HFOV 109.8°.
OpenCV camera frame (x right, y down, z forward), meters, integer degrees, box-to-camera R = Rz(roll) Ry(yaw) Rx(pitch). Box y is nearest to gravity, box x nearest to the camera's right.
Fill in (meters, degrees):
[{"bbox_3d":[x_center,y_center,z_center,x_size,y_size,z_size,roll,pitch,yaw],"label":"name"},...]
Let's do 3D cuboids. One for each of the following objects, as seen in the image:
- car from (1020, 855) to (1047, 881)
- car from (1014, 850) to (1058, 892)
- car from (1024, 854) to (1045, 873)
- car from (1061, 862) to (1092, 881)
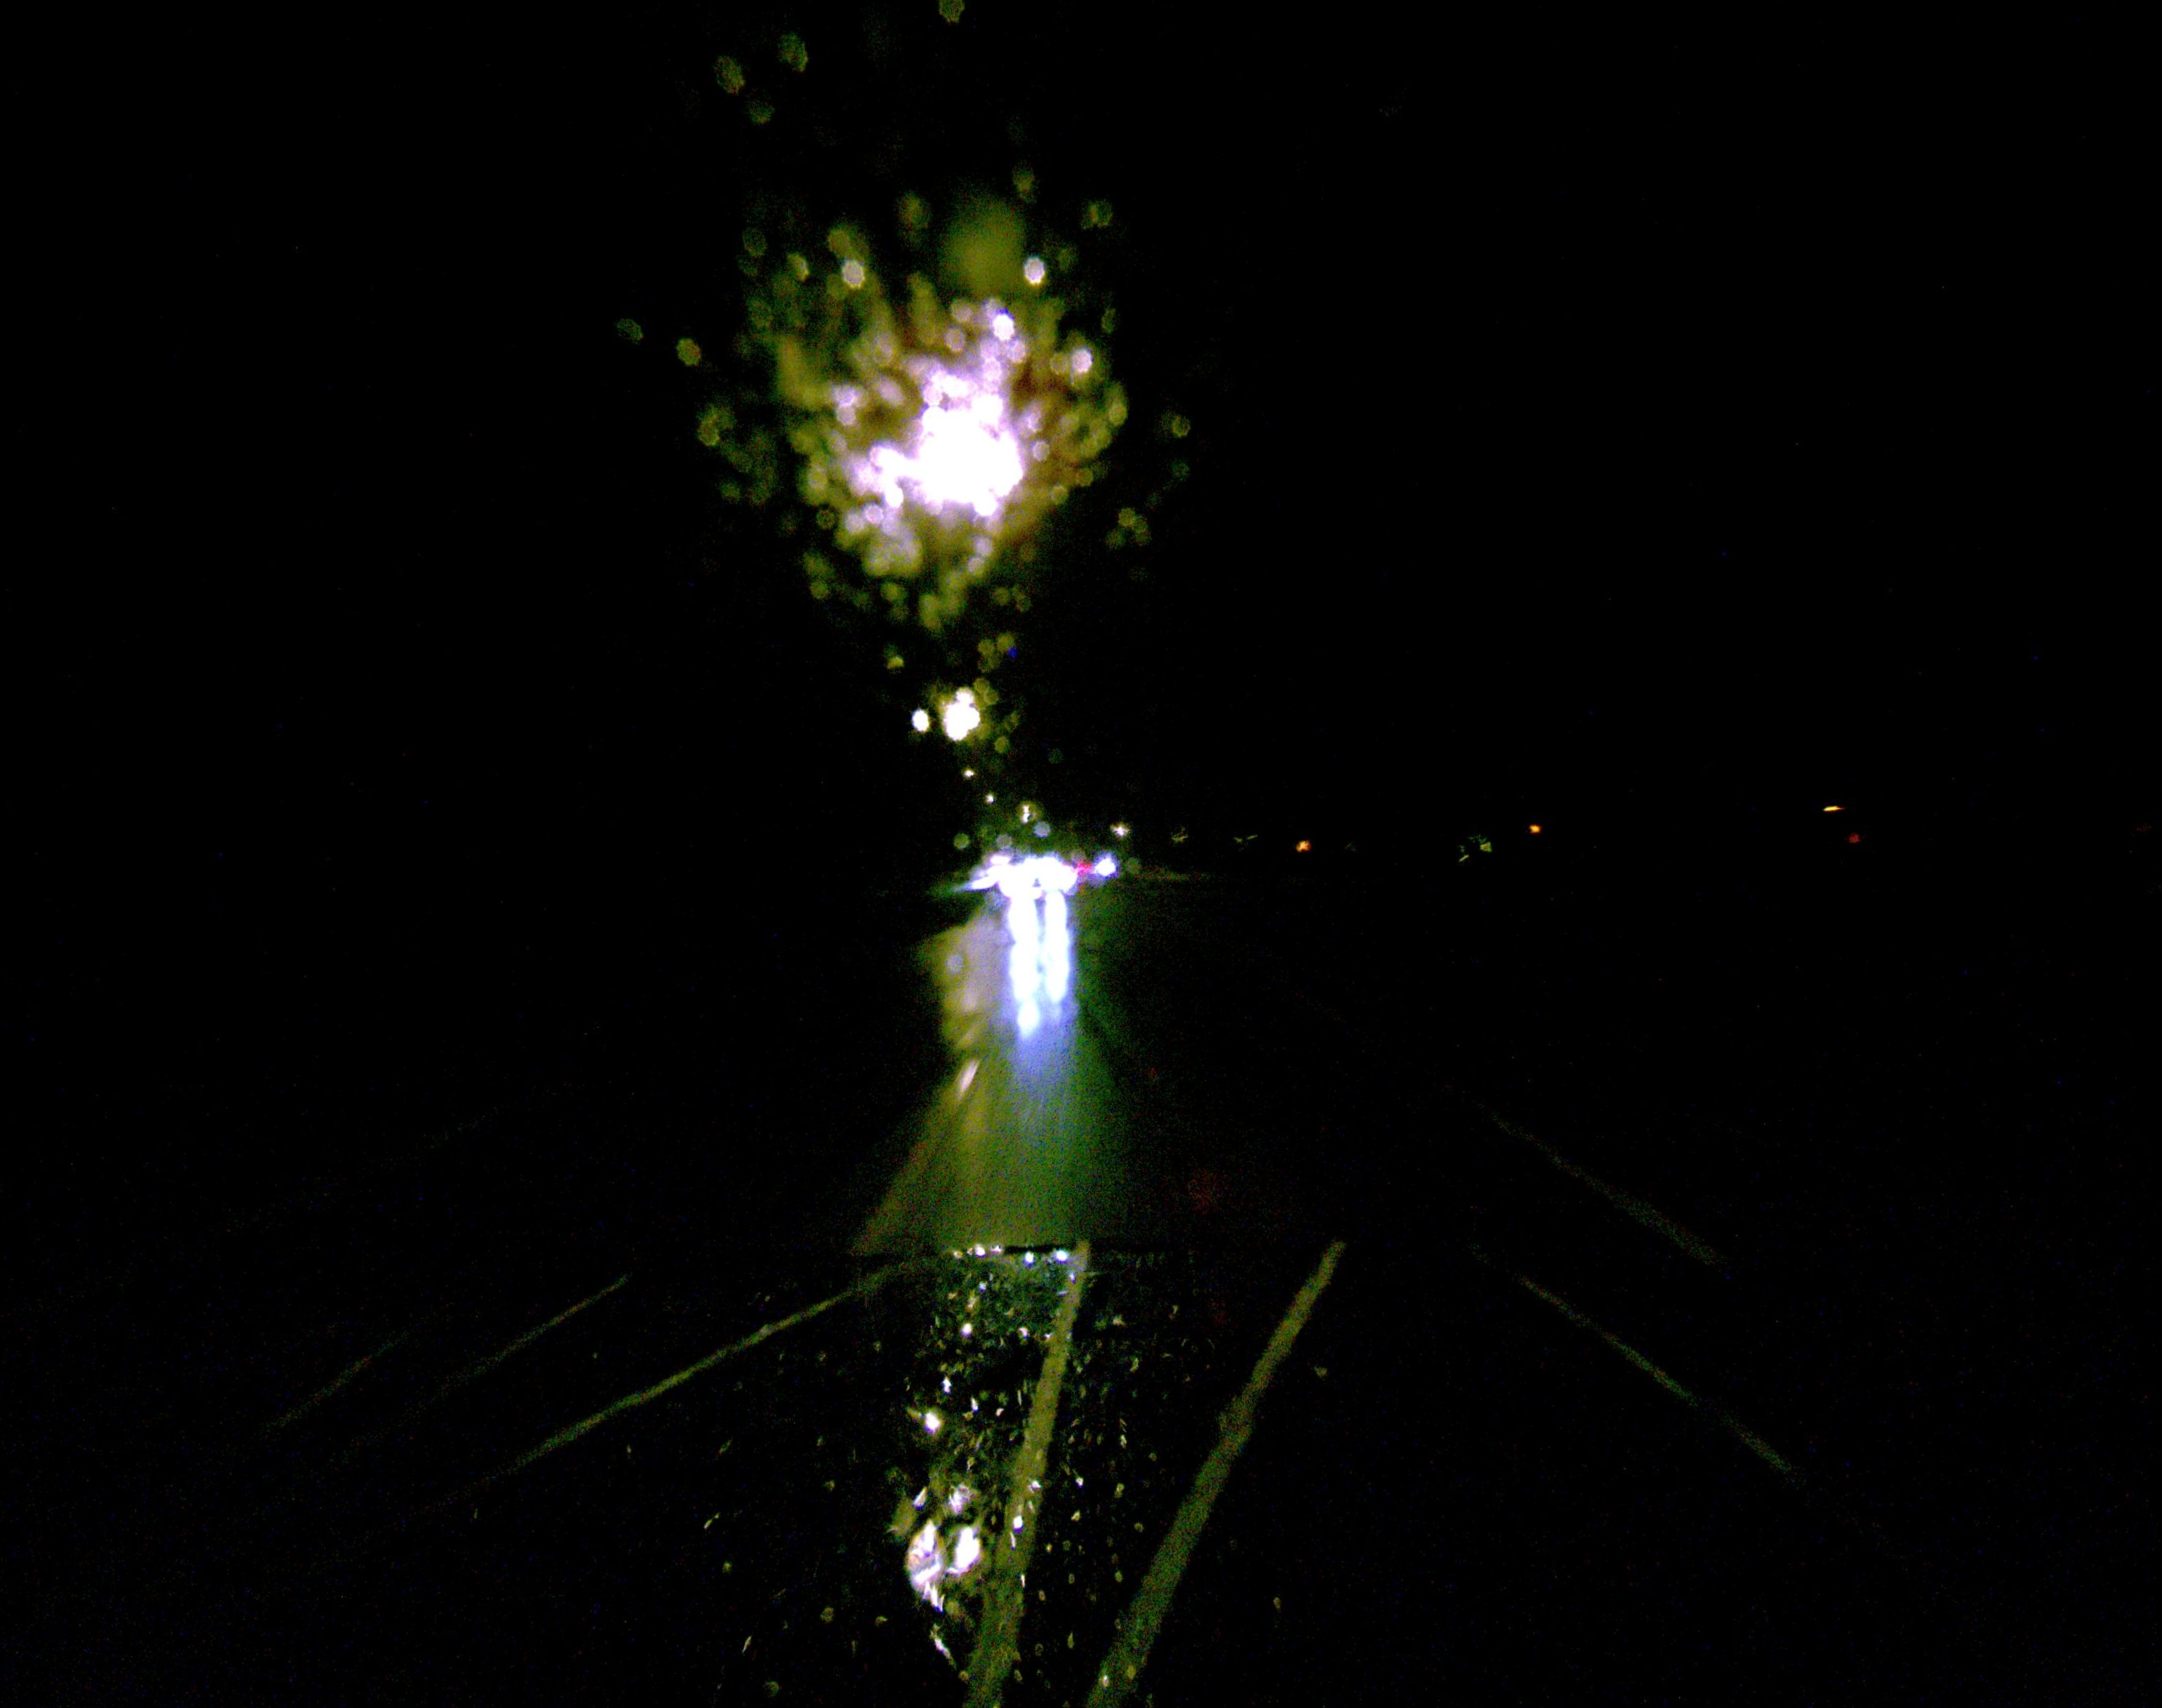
[{"bbox_3d":[-3.726,1.105,59.463,1.999,1.922,3.999,1,-1,-4],"label":"car"},{"bbox_3d":[-2.133,0.772,36.126,1.937,1.861,3.999,-2,0,-3],"label":"car"},{"bbox_3d":[-5.016,1.049,81.645,2.000,1.922,3.998,1,-1,-7],"label":"car"},{"bbox_3d":[-0.421,1.343,59.537,1.830,1.394,4.033,-1,0,-9],"label":"car"}]
